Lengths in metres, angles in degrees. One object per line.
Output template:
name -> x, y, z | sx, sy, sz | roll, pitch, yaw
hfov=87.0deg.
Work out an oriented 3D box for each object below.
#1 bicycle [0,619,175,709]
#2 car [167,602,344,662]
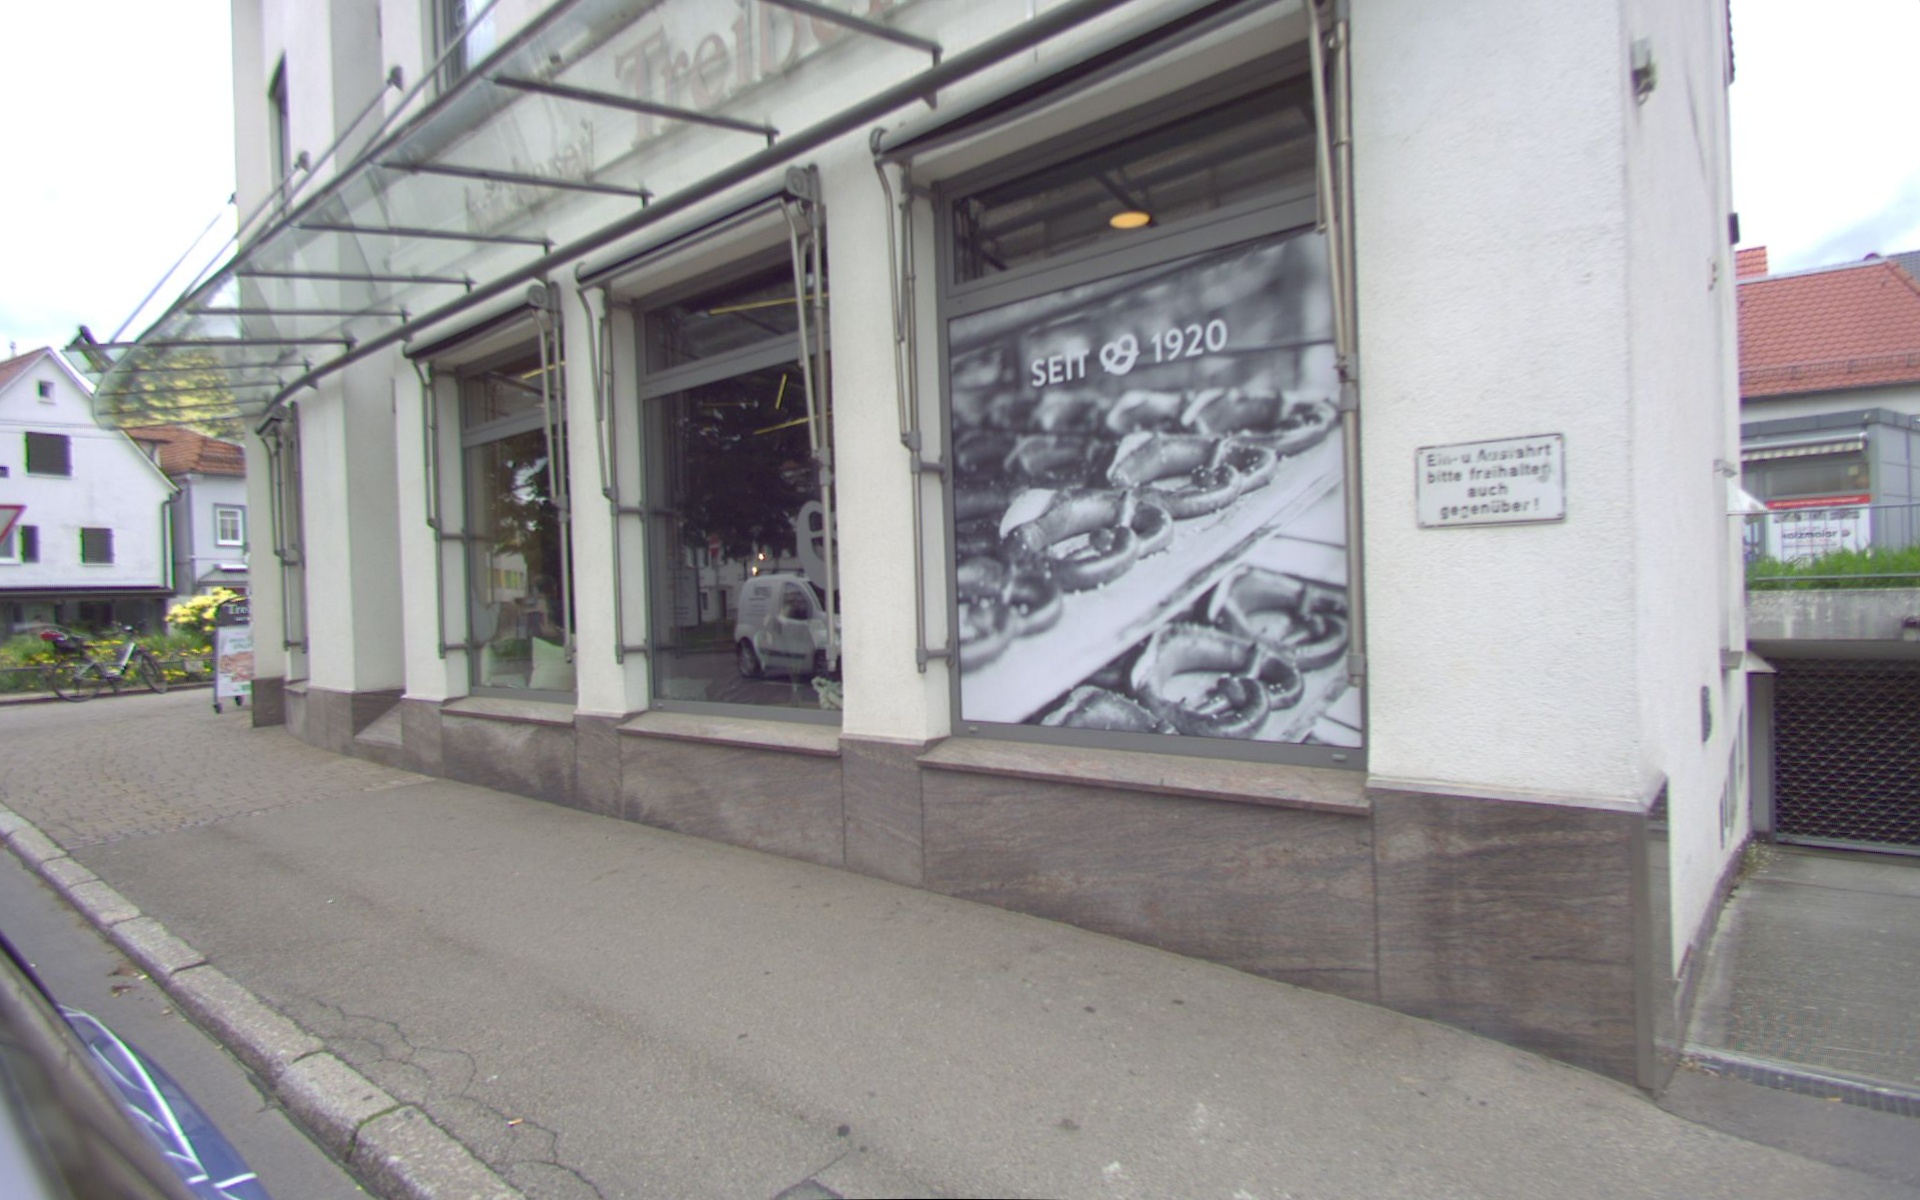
bicycle -> -13.880, 0.990, 16.161 | 0.739, 1.249, 1.966 | -3, 0, 22
car -> -19.800, 0.853, 28.508 | 3.936, 1.365, 1.760 | -4, 1, -38
